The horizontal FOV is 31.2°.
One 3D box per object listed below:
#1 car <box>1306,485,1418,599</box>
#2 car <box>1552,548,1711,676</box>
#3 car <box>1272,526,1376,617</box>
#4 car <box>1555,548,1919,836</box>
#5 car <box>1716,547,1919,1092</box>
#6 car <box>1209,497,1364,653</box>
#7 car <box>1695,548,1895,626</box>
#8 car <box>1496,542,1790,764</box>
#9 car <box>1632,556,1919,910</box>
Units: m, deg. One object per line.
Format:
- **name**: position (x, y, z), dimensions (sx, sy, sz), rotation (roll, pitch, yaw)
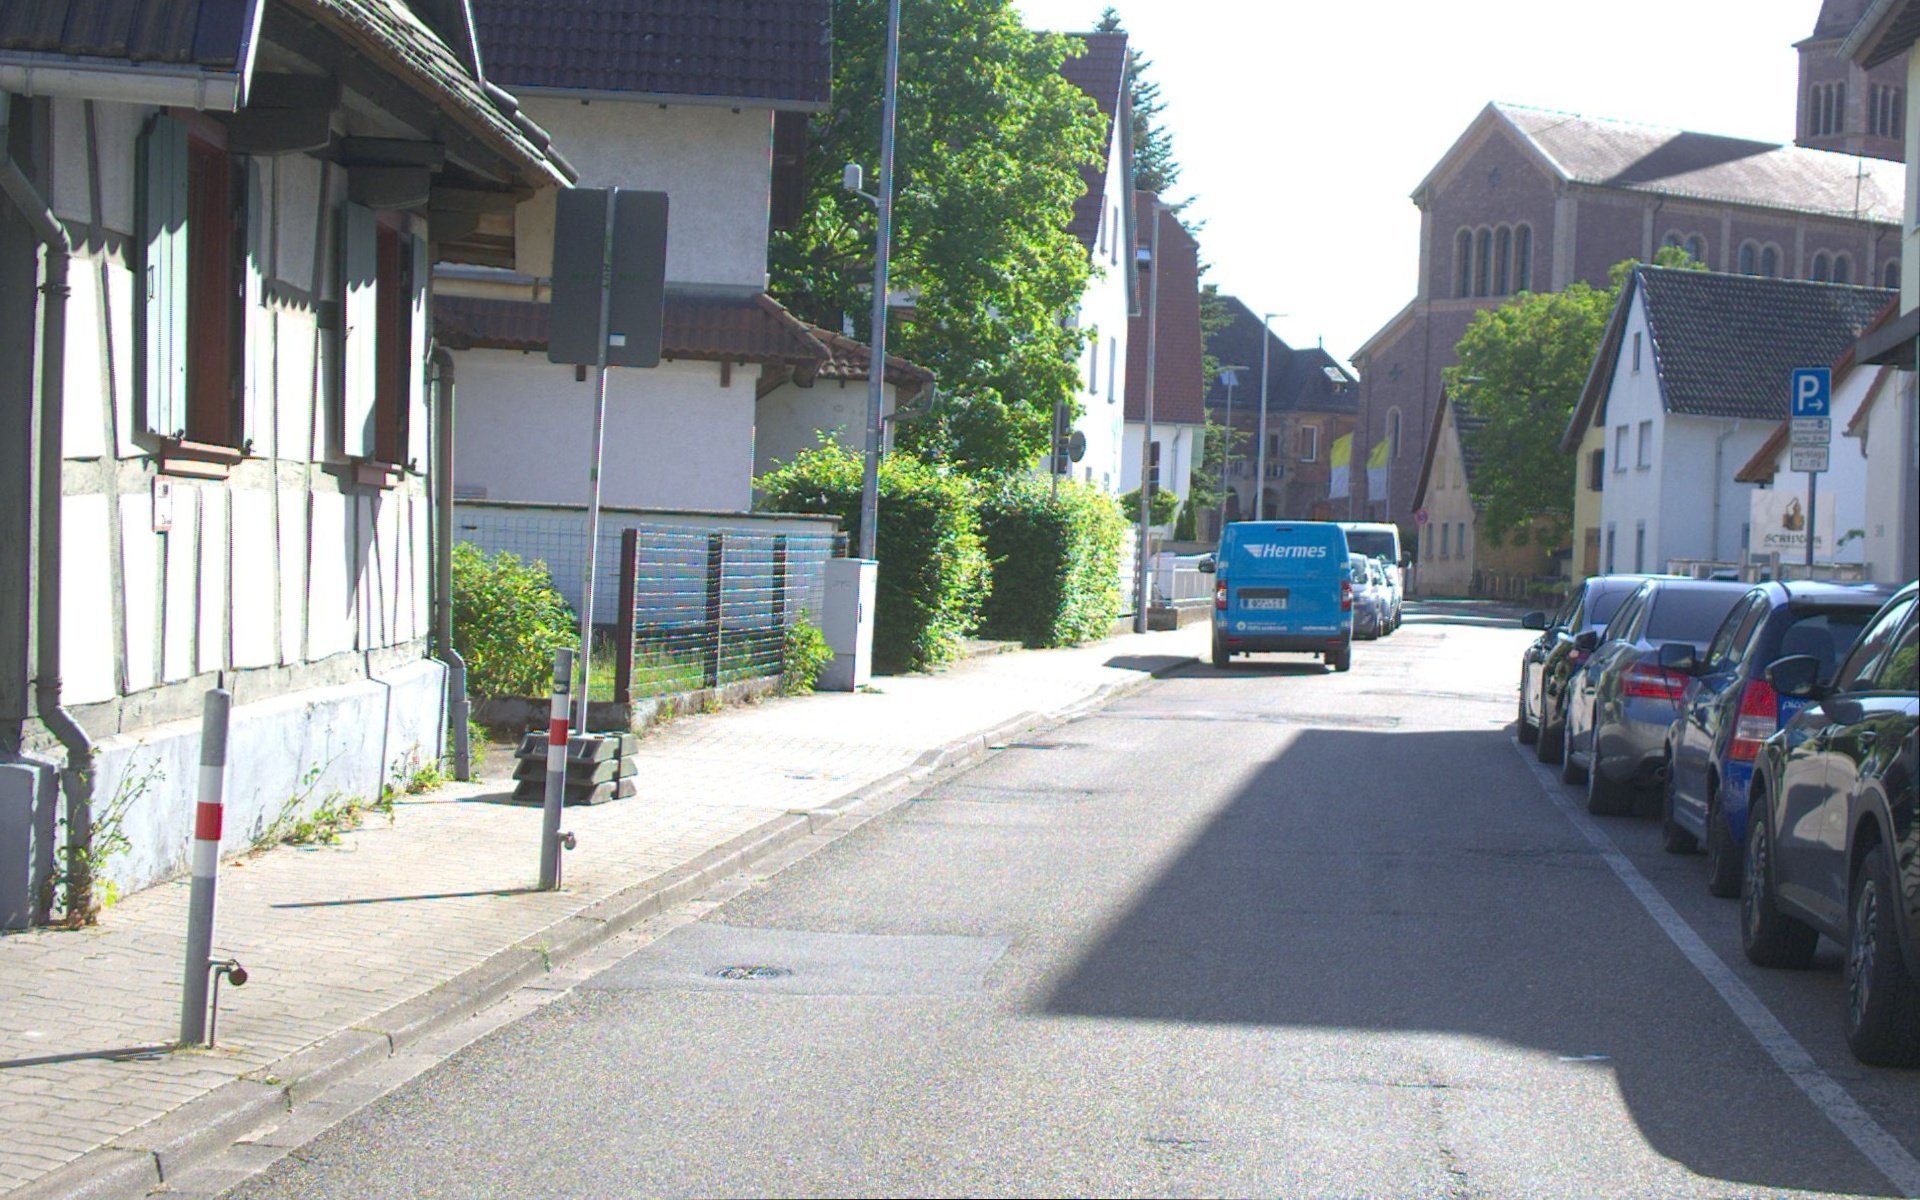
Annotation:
- **car**: position (8.889, -1.273, 75.628), dimensions (2.197, 2.382, 6.062), rotation (1, 1, 9)
- **car**: position (8.785, 0.118, 44.724), dimensions (1.812, 1.470, 4.657), rotation (4, 1, 13)
- **car**: position (6.824, -0.557, 64.234), dimensions (1.715, 1.593, 3.924), rotation (2, 1, 9)
- **car**: position (4.785, 0.479, 21.456), dimensions (1.809, 1.470, 4.443), rotation (4, 1, 7)
- **car**: position (3.658, 0.643, 11.558), dimensions (1.610, 1.515, 3.971), rotation (4, 1, 5)
- **car**: position (4.341, -0.361, 45.898), dimensions (1.903, 1.911, 5.069), rotation (2, 1, 5)
- **car**: position (17.512, -0.279, 72.039), dimensions (3.916, 1.487, 1.845), rotation (2, 1, 18)
- **car**: position (5.303, 0.368, 27.224), dimensions (1.809, 1.470, 4.843), rotation (4, 1, 7)
- **car**: position (4.399, 0.588, 17.065), dimensions (1.726, 1.470, 3.874), rotation (4, 1, 7)
